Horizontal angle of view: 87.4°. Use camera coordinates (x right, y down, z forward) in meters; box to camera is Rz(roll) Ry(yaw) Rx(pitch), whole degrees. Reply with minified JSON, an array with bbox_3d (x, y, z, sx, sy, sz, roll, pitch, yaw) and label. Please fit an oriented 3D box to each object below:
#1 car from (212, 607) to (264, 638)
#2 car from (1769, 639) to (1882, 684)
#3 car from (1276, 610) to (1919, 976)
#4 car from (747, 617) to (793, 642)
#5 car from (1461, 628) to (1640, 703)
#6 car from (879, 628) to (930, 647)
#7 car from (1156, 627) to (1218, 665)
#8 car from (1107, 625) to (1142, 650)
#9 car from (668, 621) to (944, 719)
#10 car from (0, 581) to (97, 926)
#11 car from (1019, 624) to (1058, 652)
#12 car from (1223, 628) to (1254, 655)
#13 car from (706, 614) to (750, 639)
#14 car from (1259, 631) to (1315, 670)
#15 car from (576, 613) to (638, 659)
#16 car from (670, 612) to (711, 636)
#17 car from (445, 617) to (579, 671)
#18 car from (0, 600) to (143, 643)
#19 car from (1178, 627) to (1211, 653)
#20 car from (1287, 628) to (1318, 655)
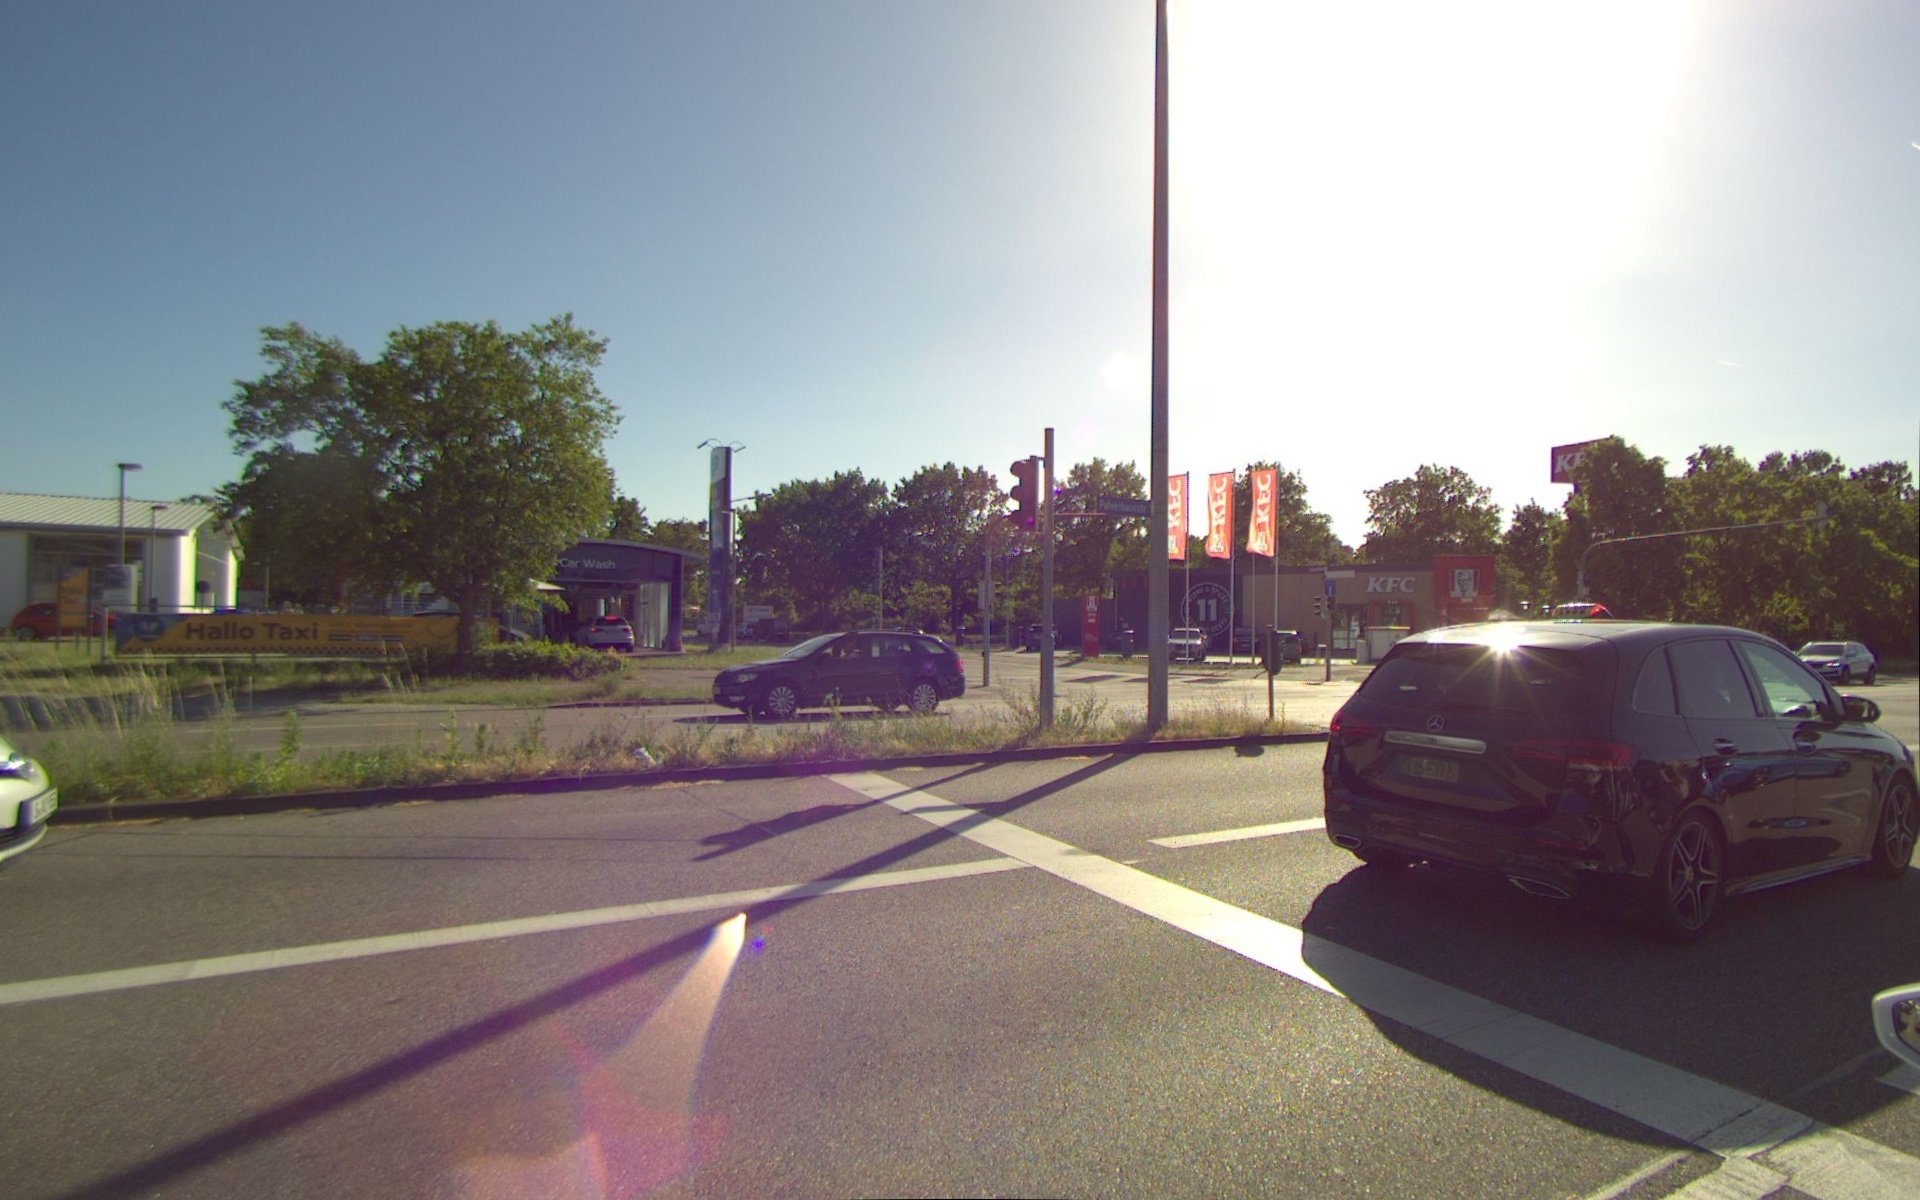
[{"bbox_3d":[-35.881,1.100,49.989,1.635,1.383,3.744,2,0,-30],"label":"car"},{"bbox_3d":[33.192,2.338,38.502,4.426,1.650,1.979,2,-3,-30],"label":"car"},{"bbox_3d":[4.094,0.891,6.070,4.354,1.510,1.750,3,-2,-32],"label":"car"},{"bbox_3d":[-16.079,2.504,84.988,3.945,1.973,1.918,2,0,44],"label":"car"},{"bbox_3d":[12.933,1.418,21.972,3.792,1.510,1.751,2,-3,-30],"label":"car"},{"bbox_3d":[-4.590,3.077,82.876,3.864,1.481,1.663,0,-1,14],"label":"car"},{"bbox_3d":[11.817,2.348,52.003,1.964,1.788,4.349,2,-1,29],"label":"car"},{"bbox_3d":[10.601,2.397,64.492,1.629,1.491,3.919,2,0,18],"label":"car"},{"bbox_3d":[-2.616,1.200,17.437,4.426,1.510,1.751,2,-3,-31],"label":"car"},{"bbox_3d":[-6.344,0.593,3.973,4.150,1.510,1.750,3,0,-32],"label":"car"},{"bbox_3d":[5.179,2.462,65.608,1.629,1.695,3.945,2,0,18],"label":"car"},{"bbox_3d":[17.348,2.553,62.463,1.629,1.491,3.919,2,0,18],"label":"car"},{"bbox_3d":[-20.721,2.328,89.749,3.945,2.040,1.988,2,0,44],"label":"car"},{"bbox_3d":[16.569,2.518,50.713,1.880,1.776,4.349,2,-1,29],"label":"car"},{"bbox_3d":[-14.057,1.384,39.892,1.840,1.613,3.973,2,0,-26],"label":"car"},{"bbox_3d":[-25.549,2.253,95.199,3.945,2.040,1.988,2,0,44],"label":"car"},{"bbox_3d":[-15.159,1.497,34.049,3.953,1.706,1.859,3,0,-30],"label":"car"},{"bbox_3d":[-34.966,0.852,39.563,3.947,1.536,1.772,2,0,-26],"label":"car"},{"bbox_3d":[14.898,2.531,63.674,1.629,1.491,3.919,2,0,18],"label":"car"},{"bbox_3d":[20.700,2.490,60.810,1.629,1.491,3.919,2,0,18],"label":"car"}]
